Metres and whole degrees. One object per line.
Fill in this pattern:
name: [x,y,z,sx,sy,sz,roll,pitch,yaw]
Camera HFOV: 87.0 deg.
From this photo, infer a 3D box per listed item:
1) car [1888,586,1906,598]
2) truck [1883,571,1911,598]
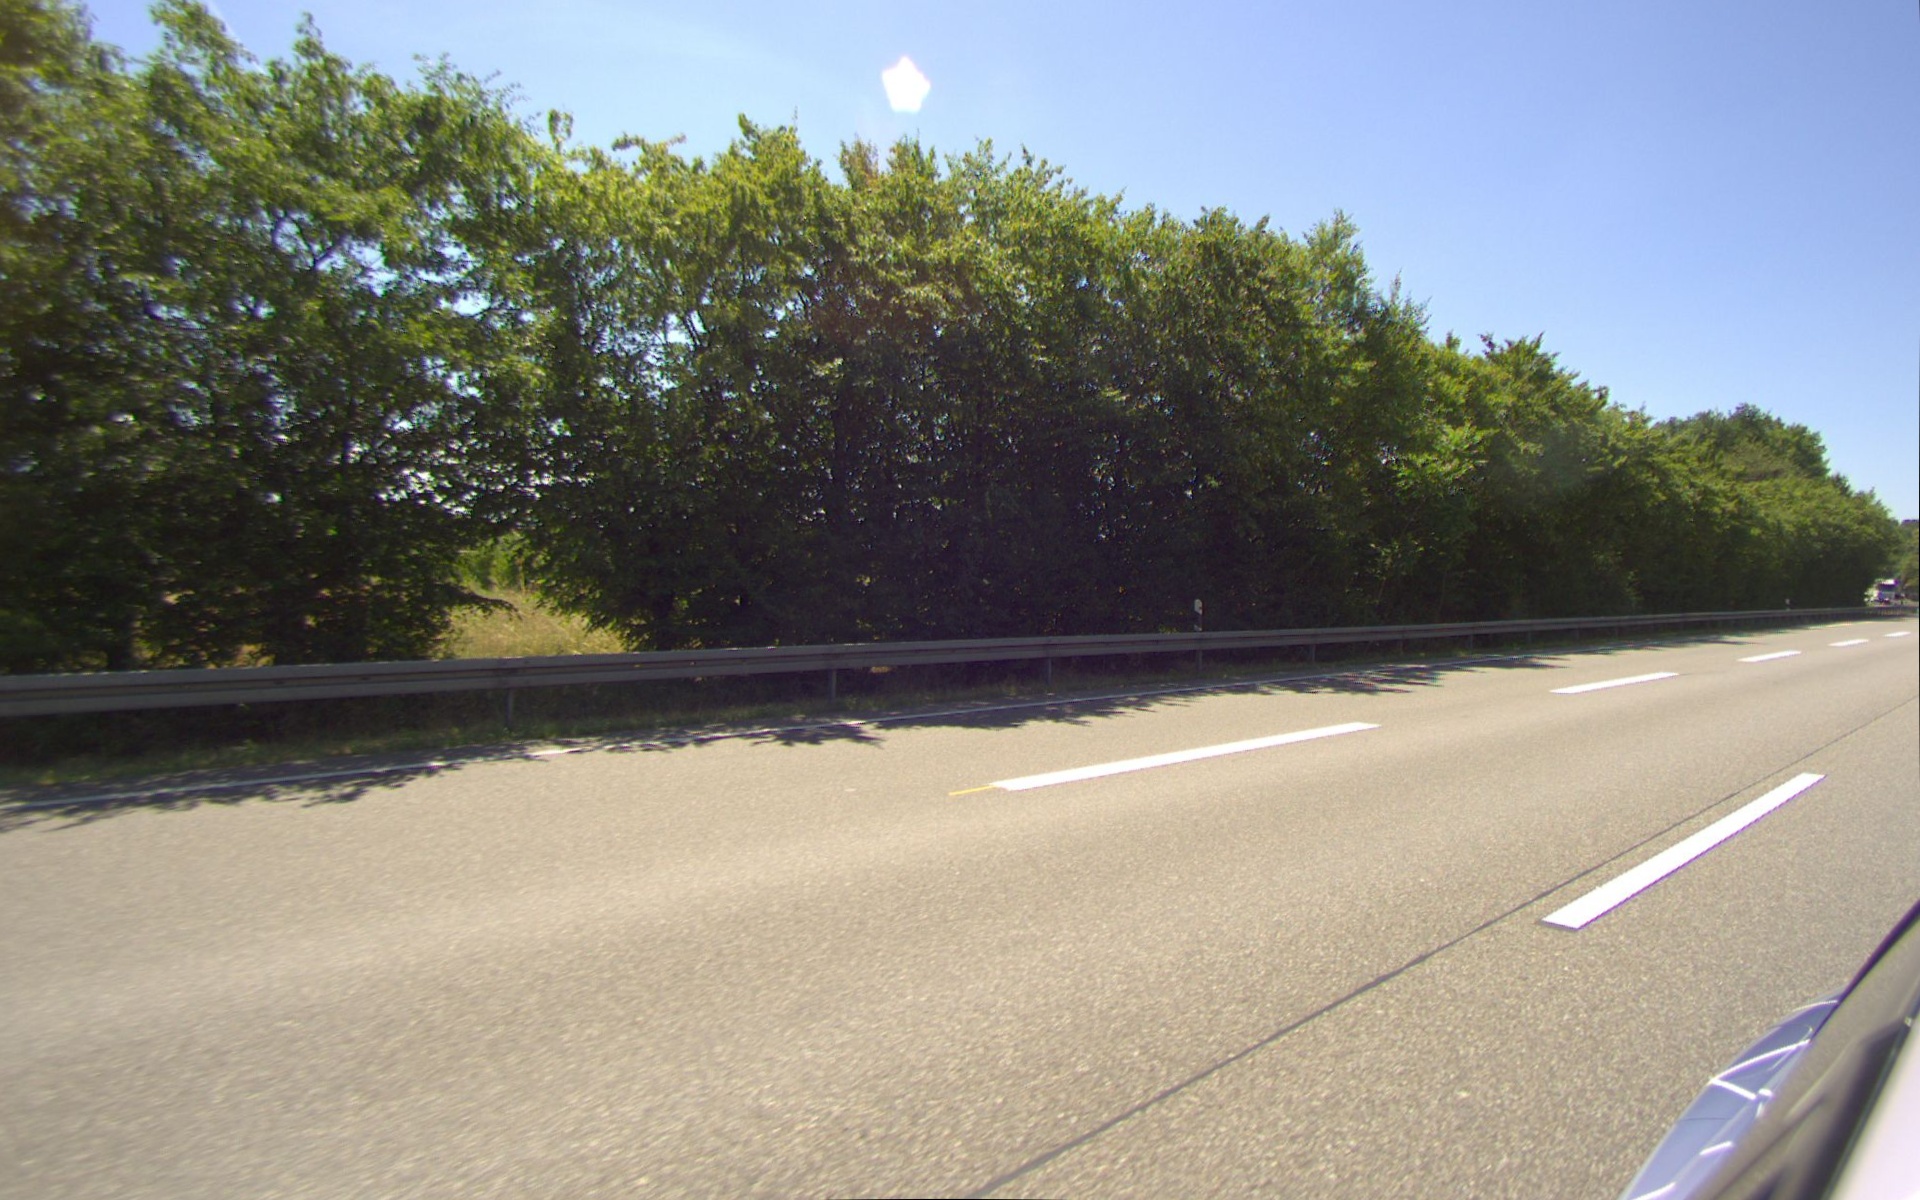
car: [154.354,-1.320,166.729,1.995,1.731,4.604,5,4,45]
truck: [162.236,-2.682,175.259,3.380,4.520,7.279,0,0,41]
